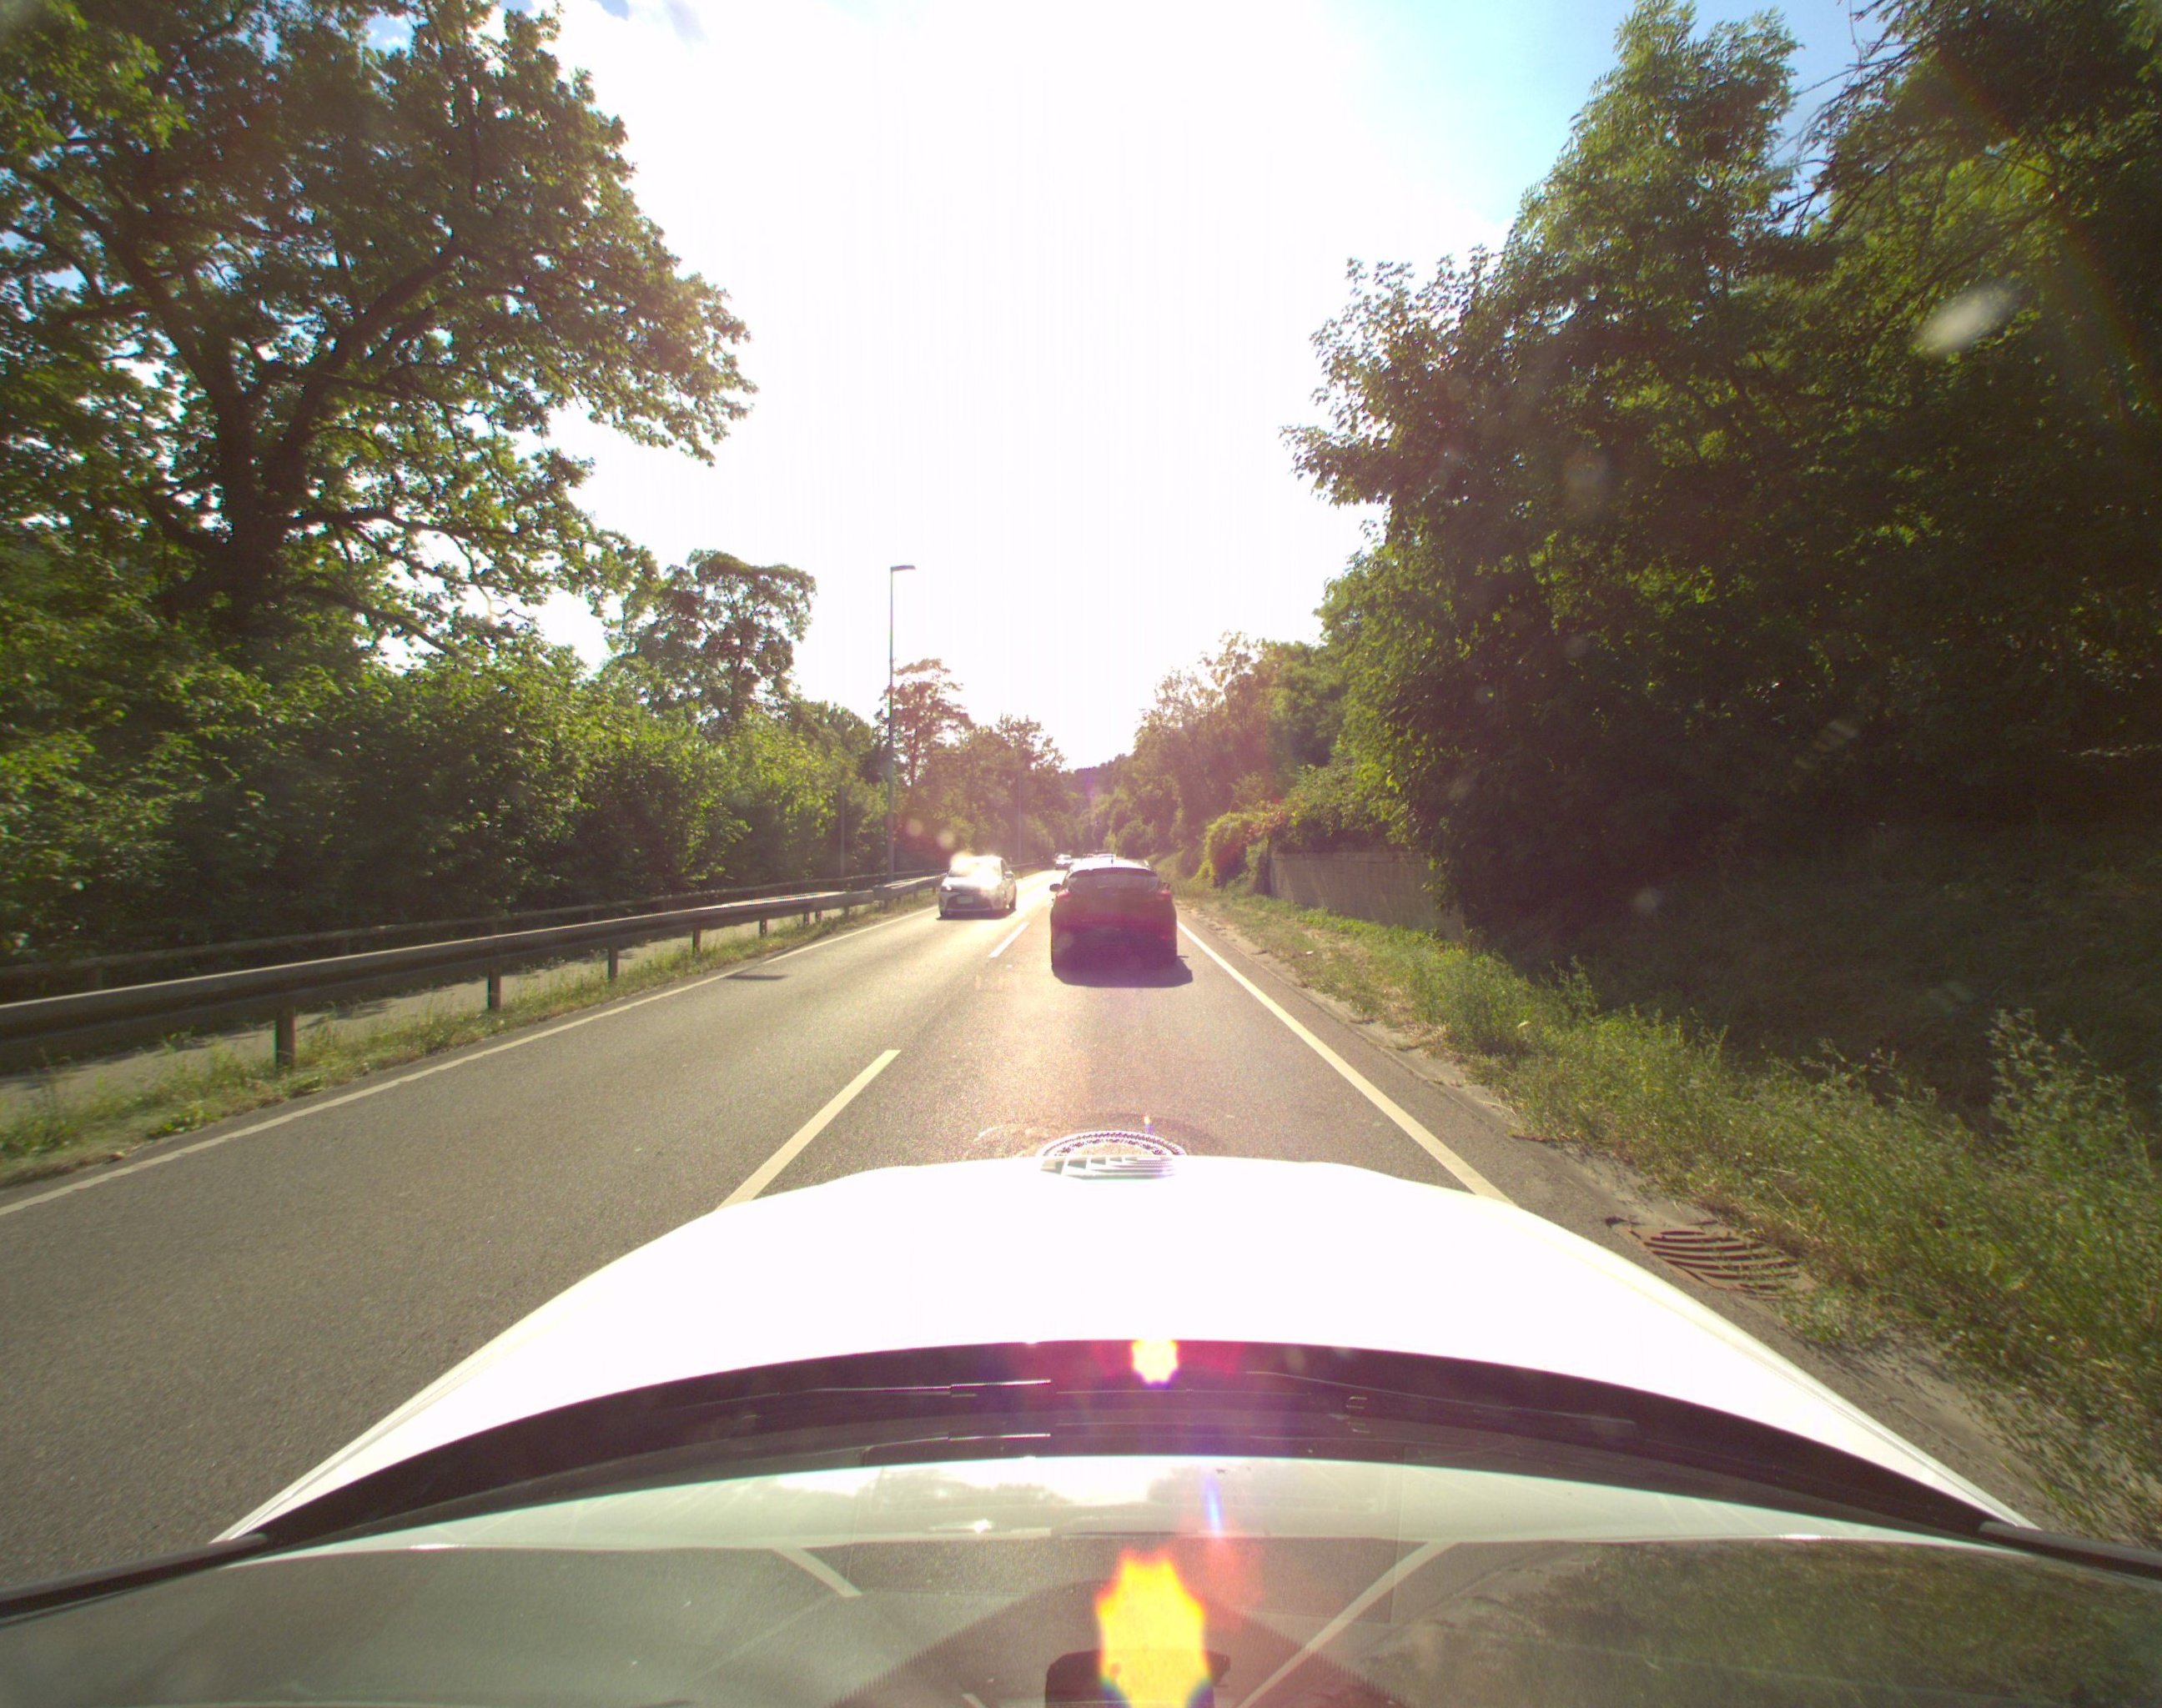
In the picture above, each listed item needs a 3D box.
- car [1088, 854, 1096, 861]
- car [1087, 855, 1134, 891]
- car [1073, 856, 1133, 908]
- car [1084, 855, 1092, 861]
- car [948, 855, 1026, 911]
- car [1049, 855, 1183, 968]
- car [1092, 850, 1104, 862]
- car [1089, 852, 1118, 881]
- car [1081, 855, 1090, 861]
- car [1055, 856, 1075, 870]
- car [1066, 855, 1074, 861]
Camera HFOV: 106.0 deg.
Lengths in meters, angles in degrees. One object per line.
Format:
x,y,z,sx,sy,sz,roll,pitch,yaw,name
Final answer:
2.520,0.698,183.287,1.812,1.519,4.002,-1,0,2,car
1.229,0.747,33.921,1.798,1.391,4.002,-1,0,2,car
0.728,0.794,24.737,1.654,1.418,4.003,-1,0,3,car
1.663,0.934,195.844,1.988,1.519,3.998,-1,0,-1,car
-2.654,0.779,23.860,1.676,1.463,4.198,-1,0,1,car
0.519,0.768,12.685,1.733,1.456,4.001,-1,0,2,car
2.626,0.326,126.512,1.857,1.780,3.999,-1,0,-1,car
1.322,0.720,47.994,1.625,1.596,4.002,-1,0,2,car
1.172,0.971,206.086,1.991,1.519,3.992,-1,0,-6,car
-1.547,0.894,81.782,1.768,1.387,4.002,-1,0,2,car
-3.124,1.118,237.956,1.991,1.519,3.992,-1,0,-6,car
